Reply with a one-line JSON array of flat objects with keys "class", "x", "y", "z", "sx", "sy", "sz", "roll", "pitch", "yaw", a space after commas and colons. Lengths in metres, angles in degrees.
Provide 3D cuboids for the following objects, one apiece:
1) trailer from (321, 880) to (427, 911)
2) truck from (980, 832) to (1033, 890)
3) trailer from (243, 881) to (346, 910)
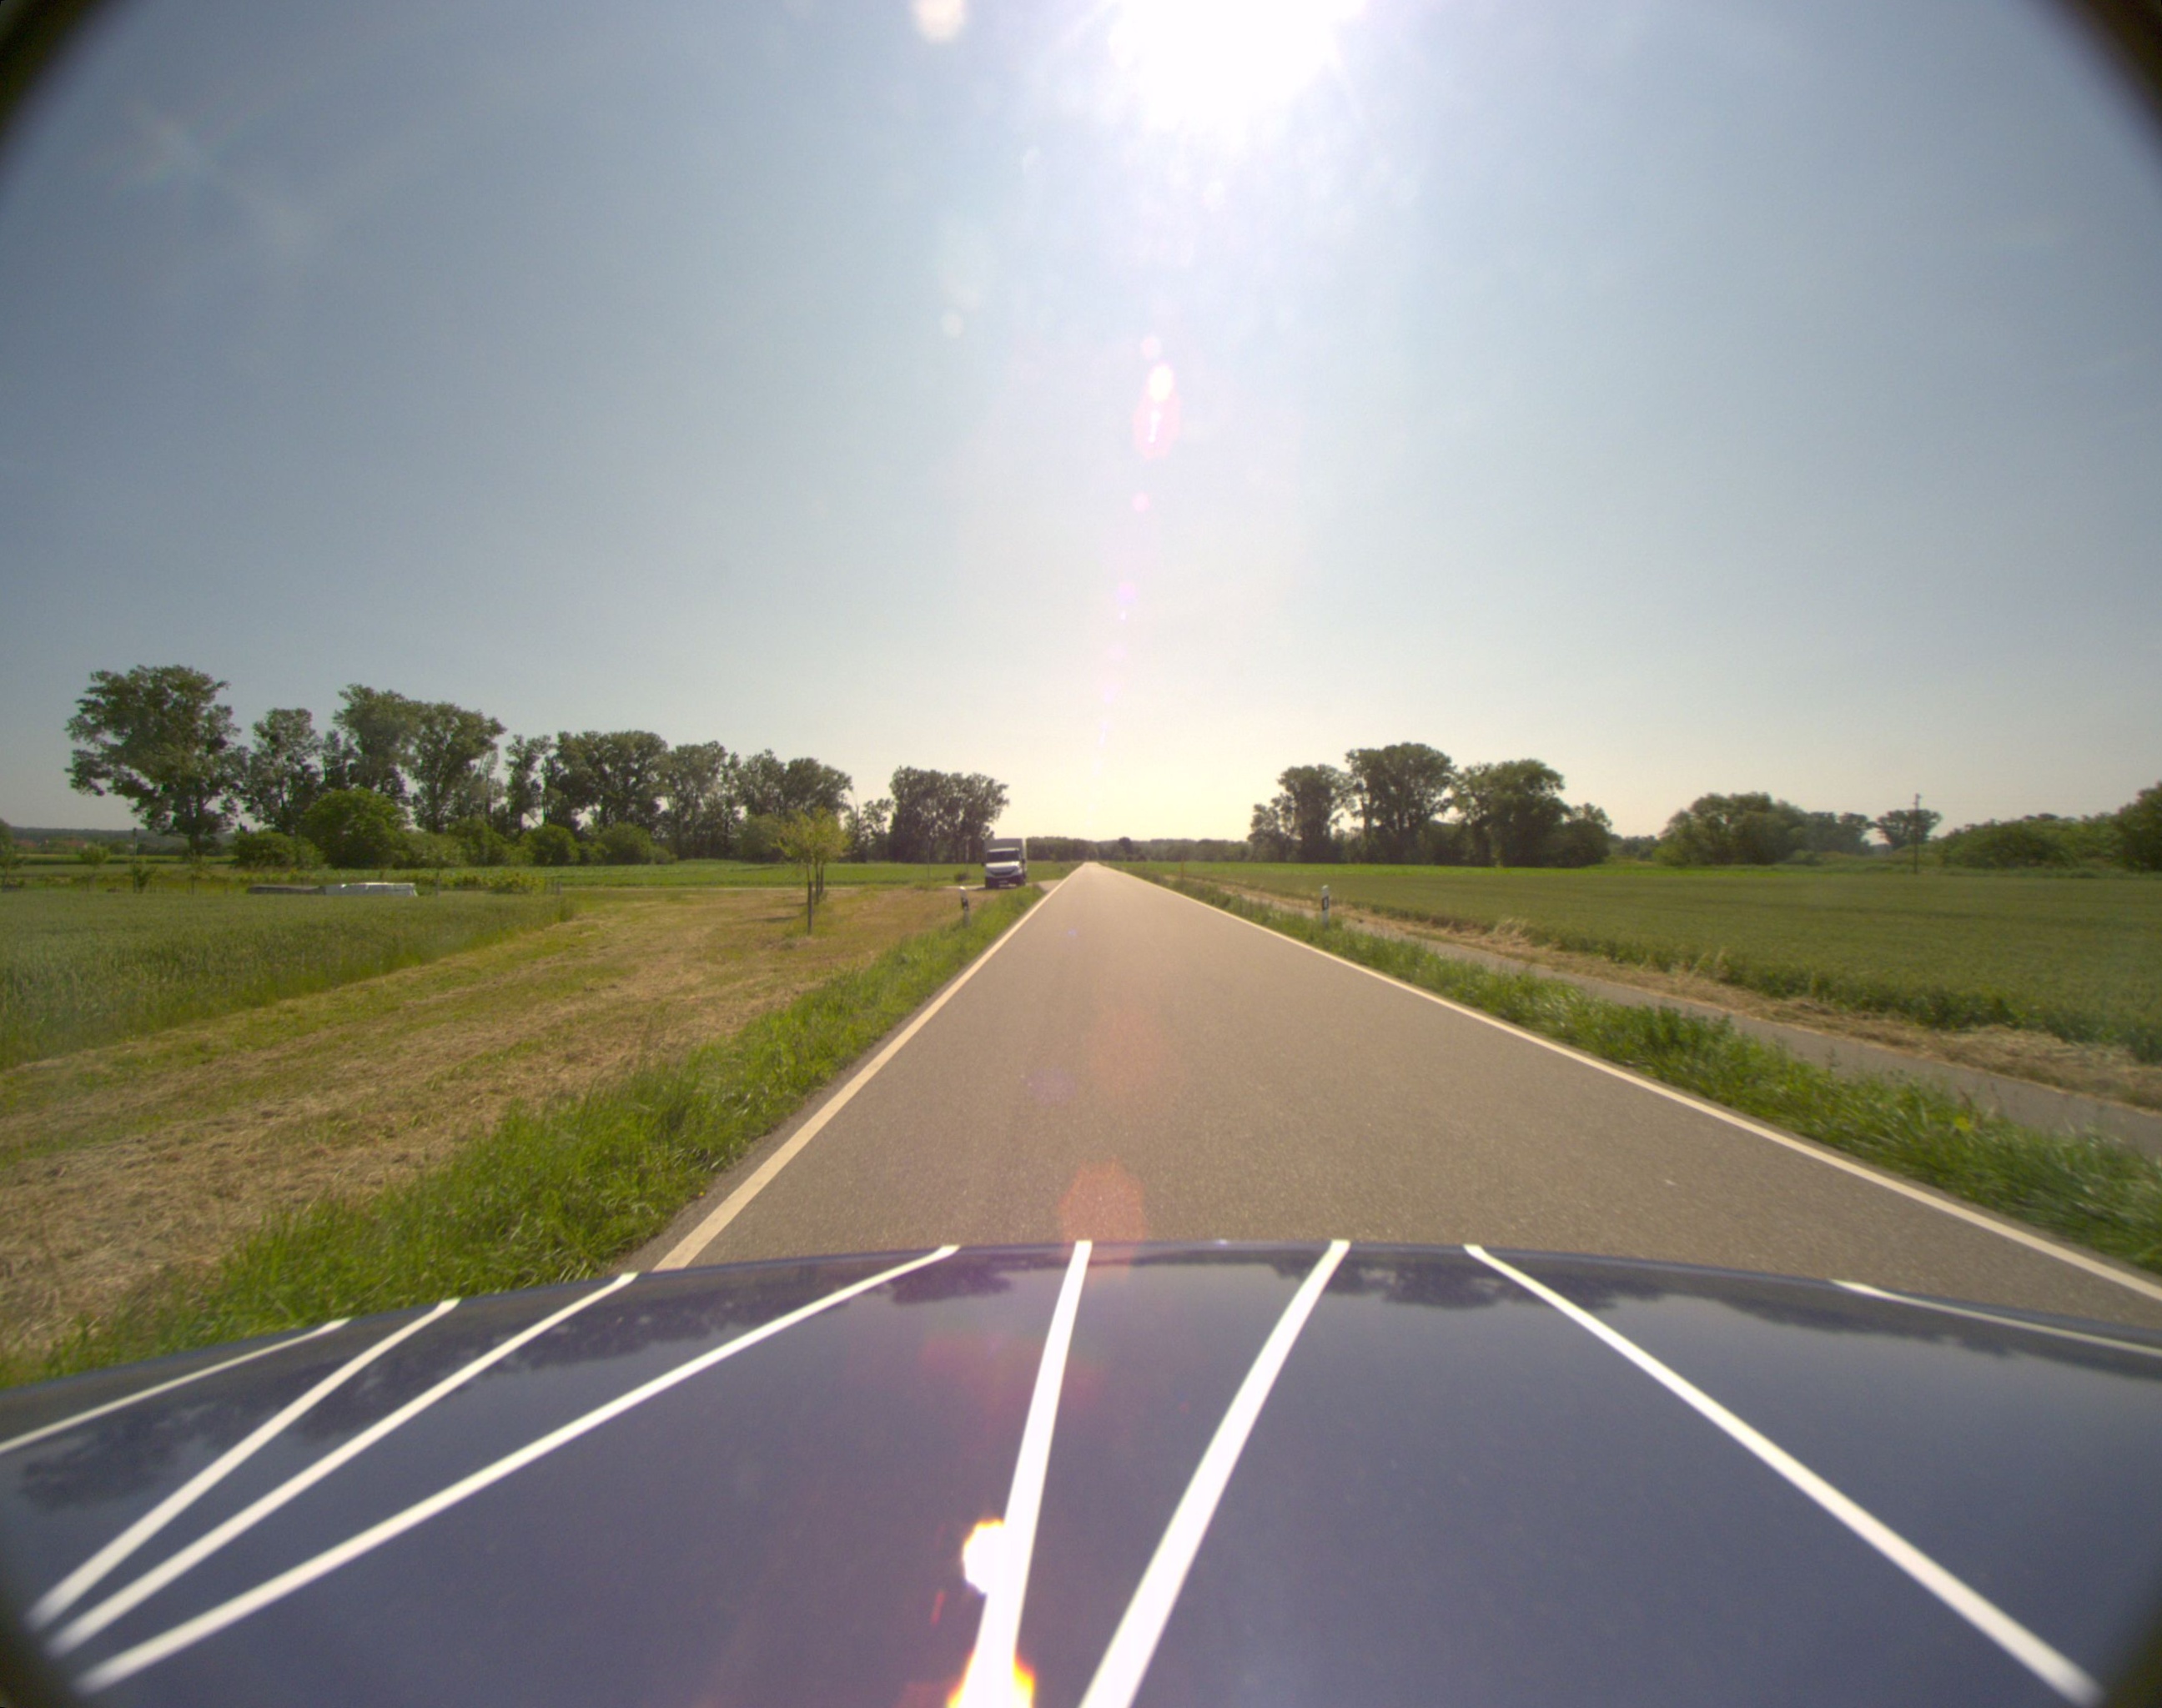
[{"class": "trailer", "x": -31.453, "y": 1.838, "z": 33.831, "sx": 3.591, "sy": 1.182, "sz": 1.665, "roll": -2, "pitch": 0, "yaw": 13}, {"class": "truck", "x": -4.165, "y": 0.349, "z": 43.788, "sx": 2.341, "sy": 2.925, "sz": 7.007, "roll": -3, "pitch": 0, "yaw": -1}, {"class": "trailer", "x": -36.369, "y": 1.919, "z": 35.154, "sx": 3.543, "sy": 1.182, "sz": 1.665, "roll": -1, "pitch": 1, "yaw": 13}]
